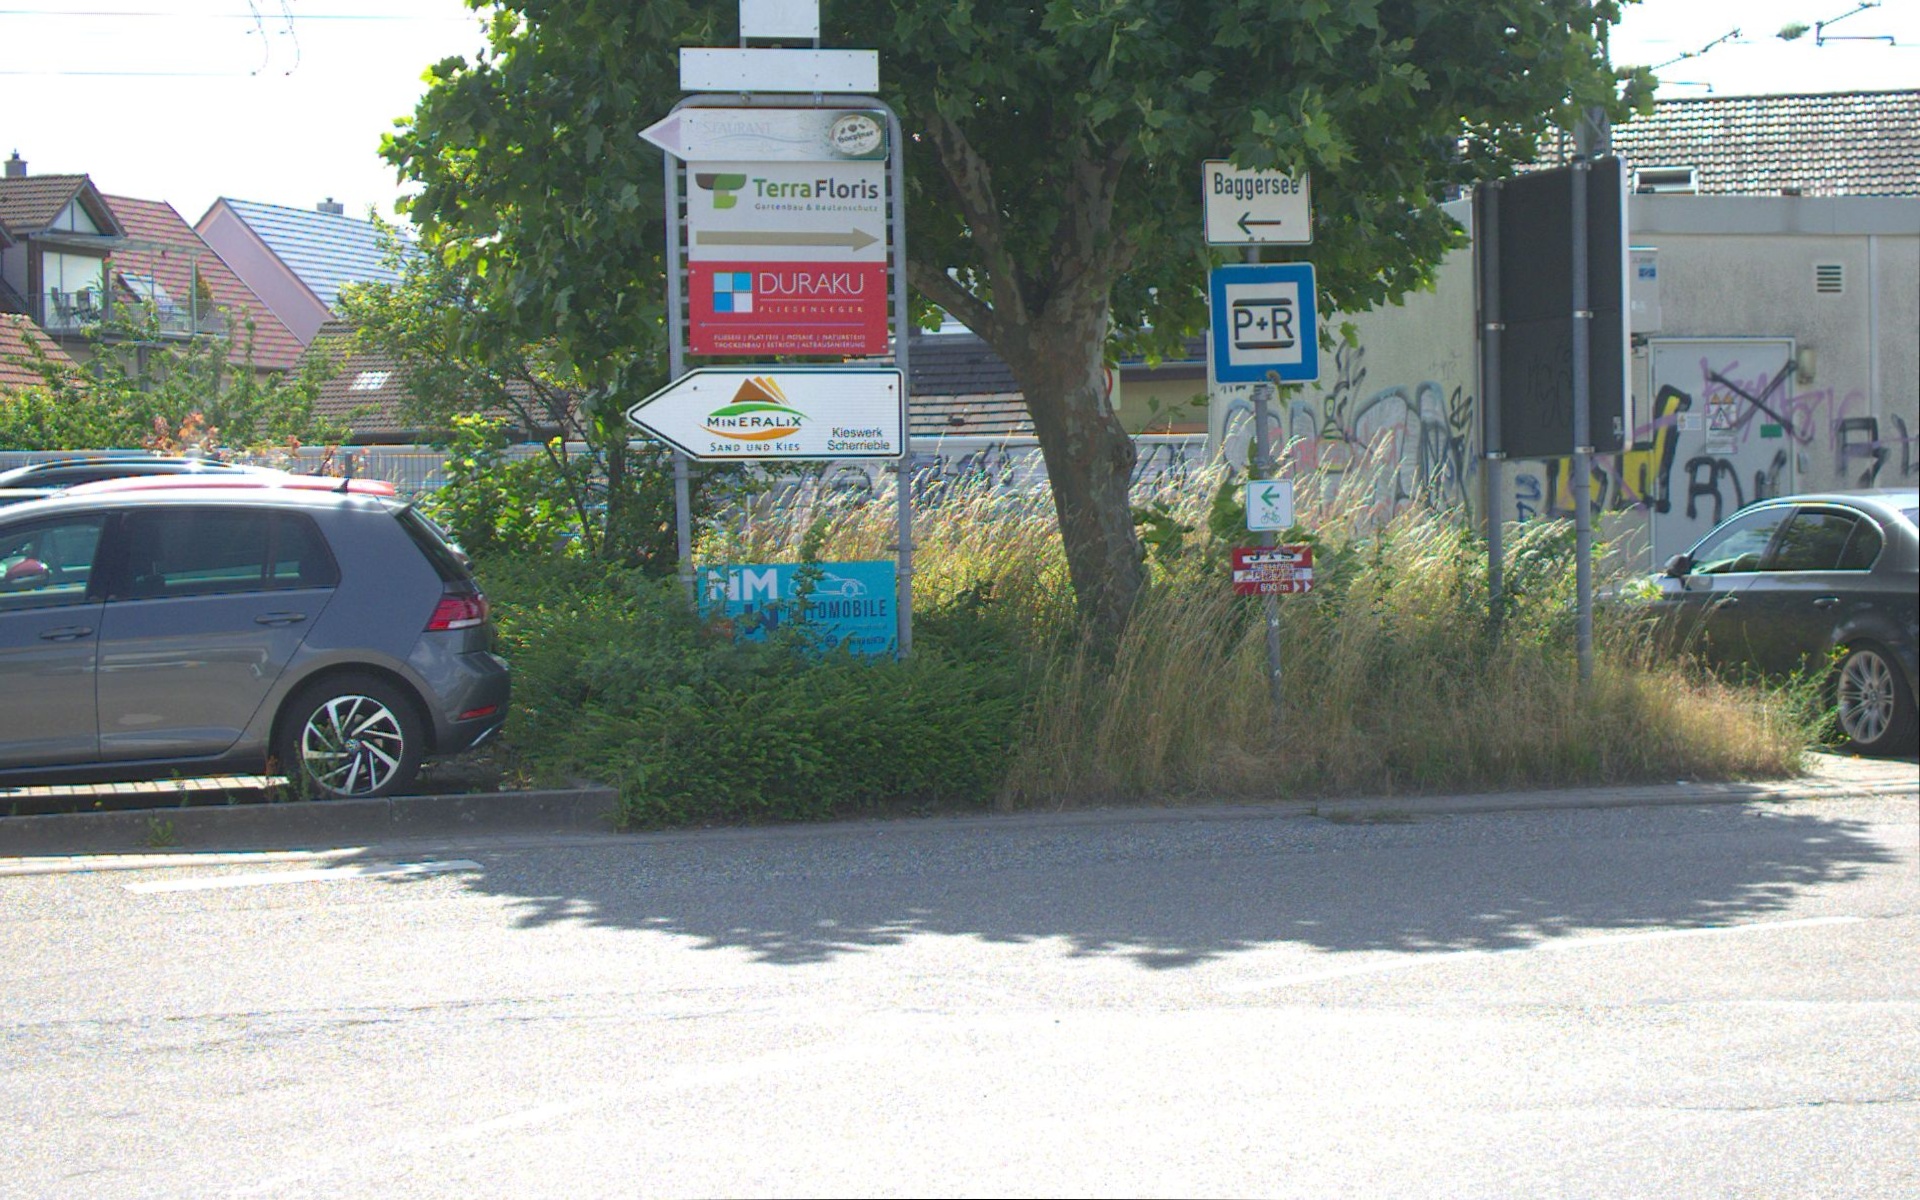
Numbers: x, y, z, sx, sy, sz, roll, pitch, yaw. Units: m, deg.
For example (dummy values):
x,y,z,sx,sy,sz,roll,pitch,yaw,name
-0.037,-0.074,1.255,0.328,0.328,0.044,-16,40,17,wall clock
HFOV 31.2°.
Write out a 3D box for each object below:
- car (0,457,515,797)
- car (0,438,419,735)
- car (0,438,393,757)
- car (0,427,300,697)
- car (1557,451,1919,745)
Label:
x,y,z,sx,sy,sz,roll,pitch,yaw,name
-4.194,0.101,15.581,4.186,1.458,1.665,0,1,-12,car
-5.324,-0.097,20.444,3.986,1.651,2.001,-1,2,-13,car
-5.075,-0.015,18.128,3.986,1.581,1.780,-1,1,-13,car
-6.480,-0.267,22.932,3.986,1.724,1.771,1,1,-13,car
5.273,-0.047,19.428,1.751,1.381,4.002,0,5,-24,car
